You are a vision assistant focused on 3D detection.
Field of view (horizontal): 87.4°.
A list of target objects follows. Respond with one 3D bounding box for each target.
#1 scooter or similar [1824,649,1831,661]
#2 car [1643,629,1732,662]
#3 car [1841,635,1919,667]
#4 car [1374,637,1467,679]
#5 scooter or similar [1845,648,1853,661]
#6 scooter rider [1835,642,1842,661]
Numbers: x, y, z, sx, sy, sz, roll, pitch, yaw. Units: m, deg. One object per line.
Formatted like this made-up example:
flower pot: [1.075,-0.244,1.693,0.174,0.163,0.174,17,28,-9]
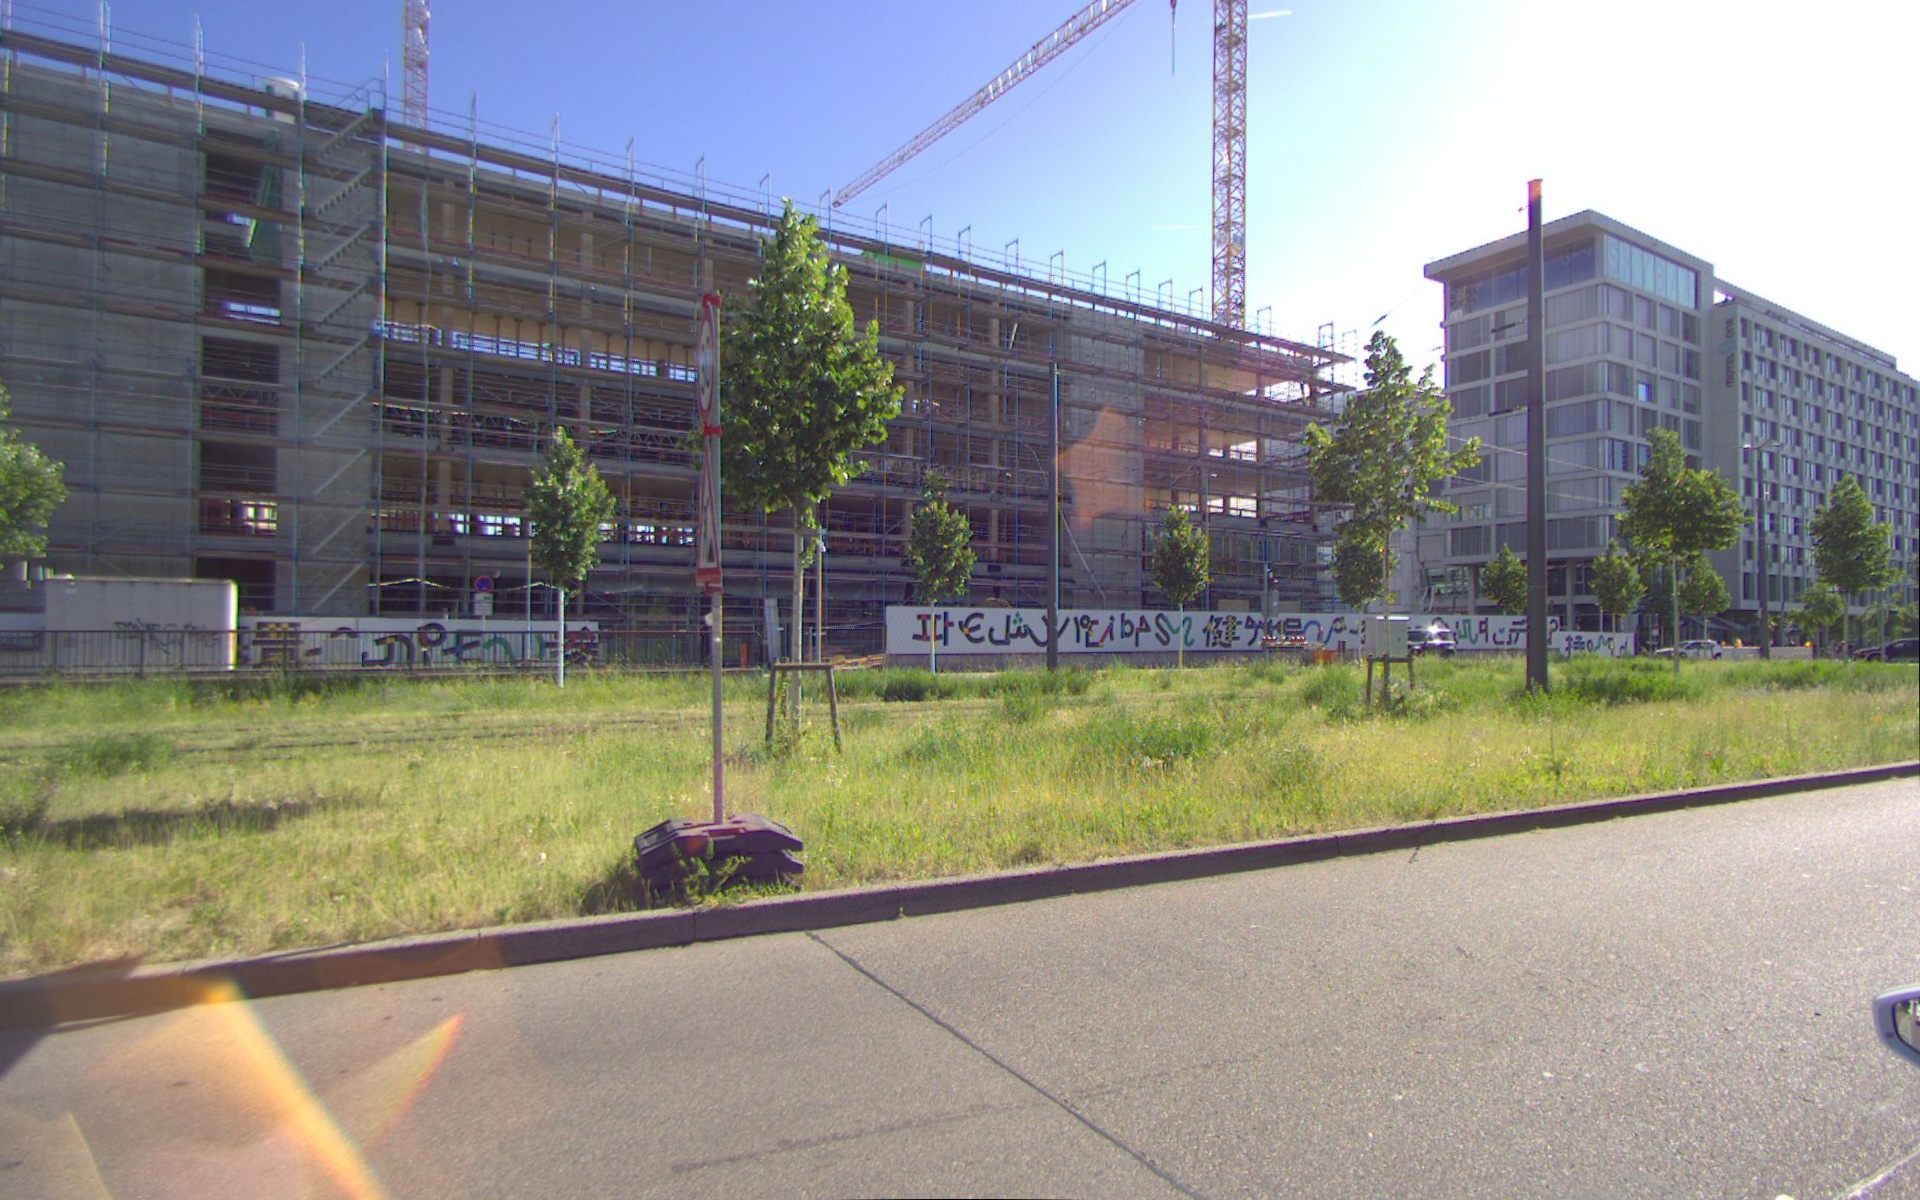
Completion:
scooter or similar: [69.281,4.364,80.207,0.761,0.960,0.283,2,-2,-40]
car: [43.704,2.743,60.413,3.906,1.943,1.916,0,-2,1]
car: [54.789,2.959,58.862,4.448,1.816,1.996,-1,-2,32]
car: [22.256,2.767,48.505,4.275,1.943,1.901,1,-2,-29]
scooter or similar: [70.036,4.298,79.126,0.759,0.960,0.227,1,-2,-32]
scooter rider: [69.963,4.106,80.011,0.236,1.472,0.340,1,-2,-31]
